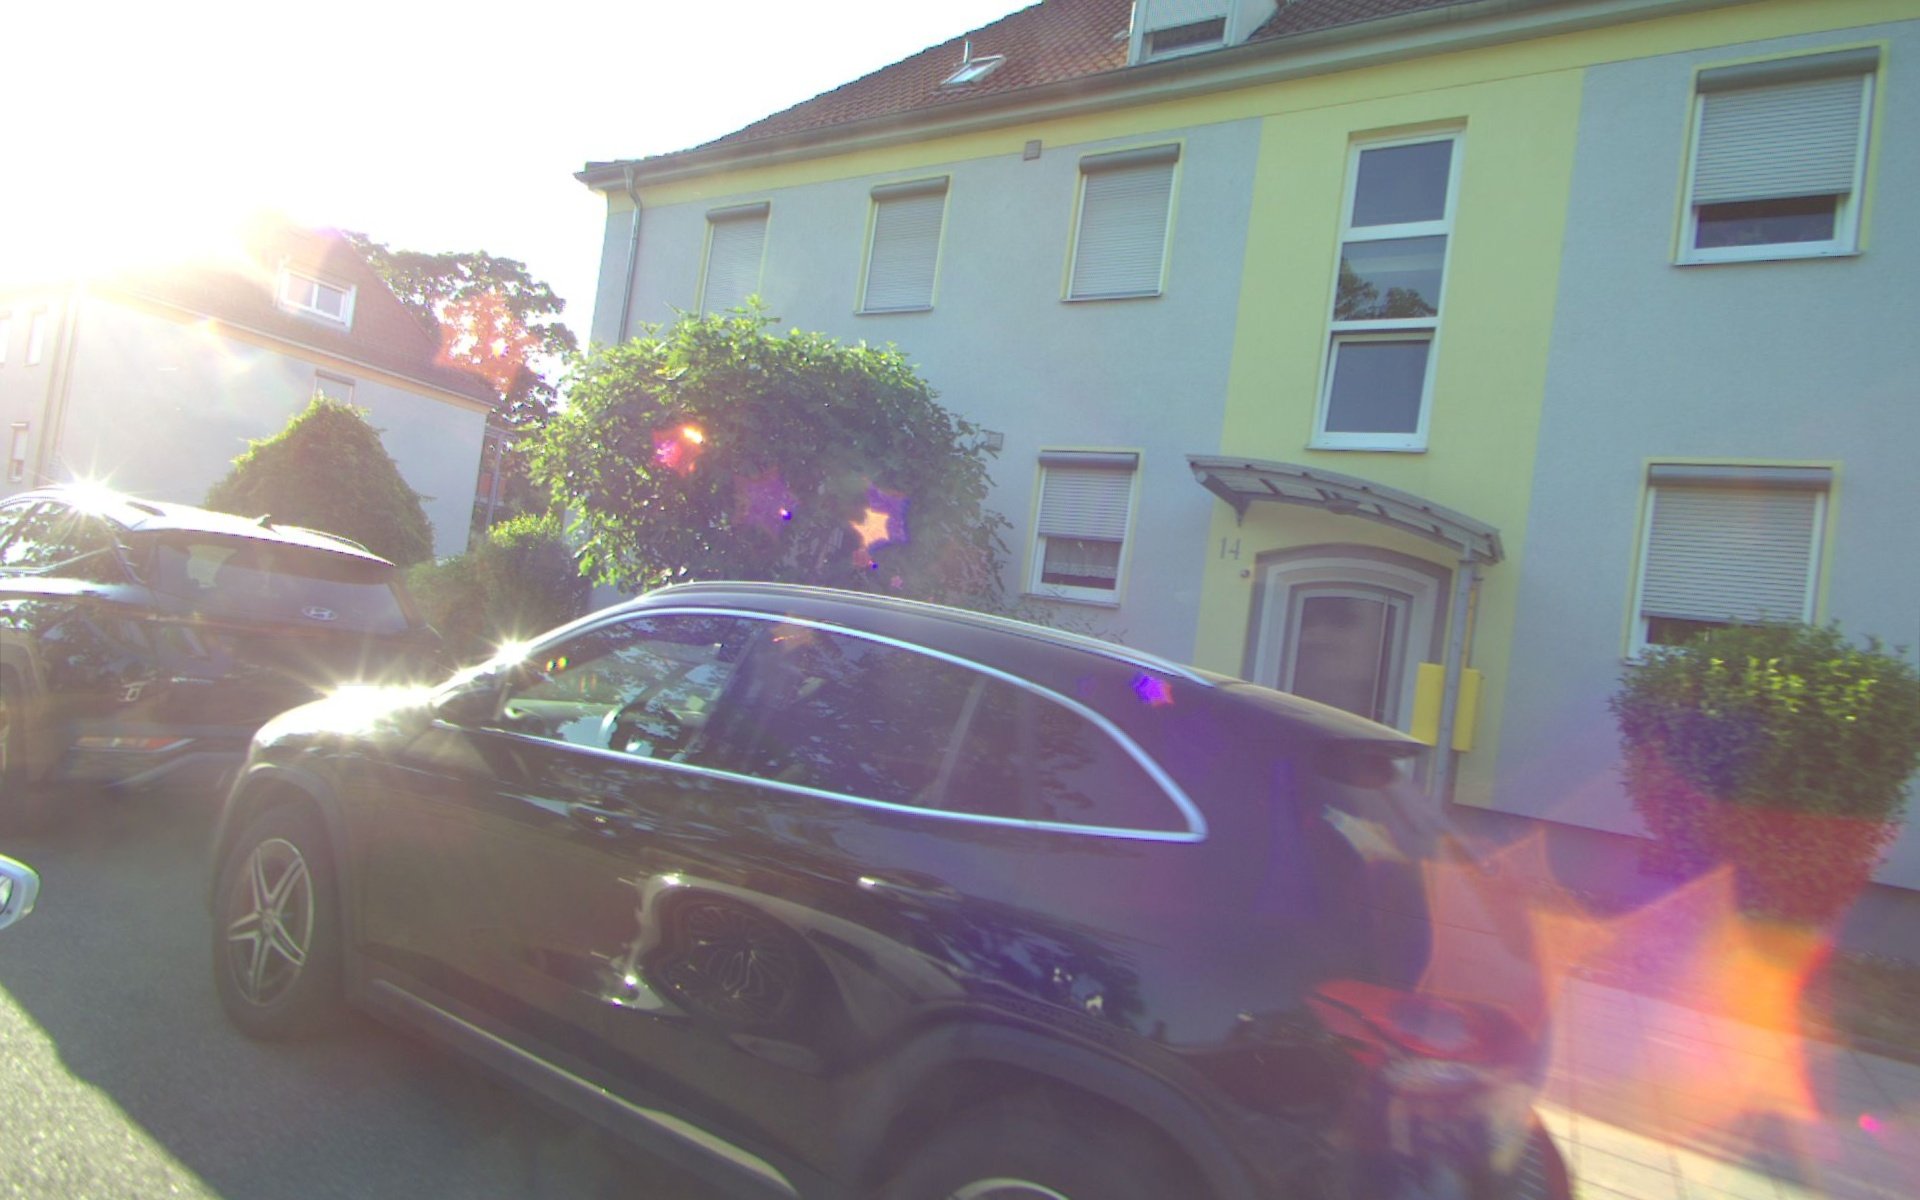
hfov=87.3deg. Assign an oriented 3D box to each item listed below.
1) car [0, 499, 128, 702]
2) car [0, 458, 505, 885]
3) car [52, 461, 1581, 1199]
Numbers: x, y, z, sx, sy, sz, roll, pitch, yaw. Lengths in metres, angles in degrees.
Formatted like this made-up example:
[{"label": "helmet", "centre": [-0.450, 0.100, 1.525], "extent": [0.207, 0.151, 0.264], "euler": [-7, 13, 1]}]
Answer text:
[{"label": "car", "centre": [-9.576, -0.242, 9.011], "extent": [4.136, 1.563, 1.735], "euler": [7, -6, 30]}, {"label": "car", "centre": [-5.113, 0.138, 6.069], "extent": [4.740, 1.676, 1.858], "euler": [8, -2, 32]}, {"label": "car", "centre": [-0.754, 0.734, 3.318], "extent": [4.544, 1.739, 1.939], "euler": [8, -3, 31]}]
